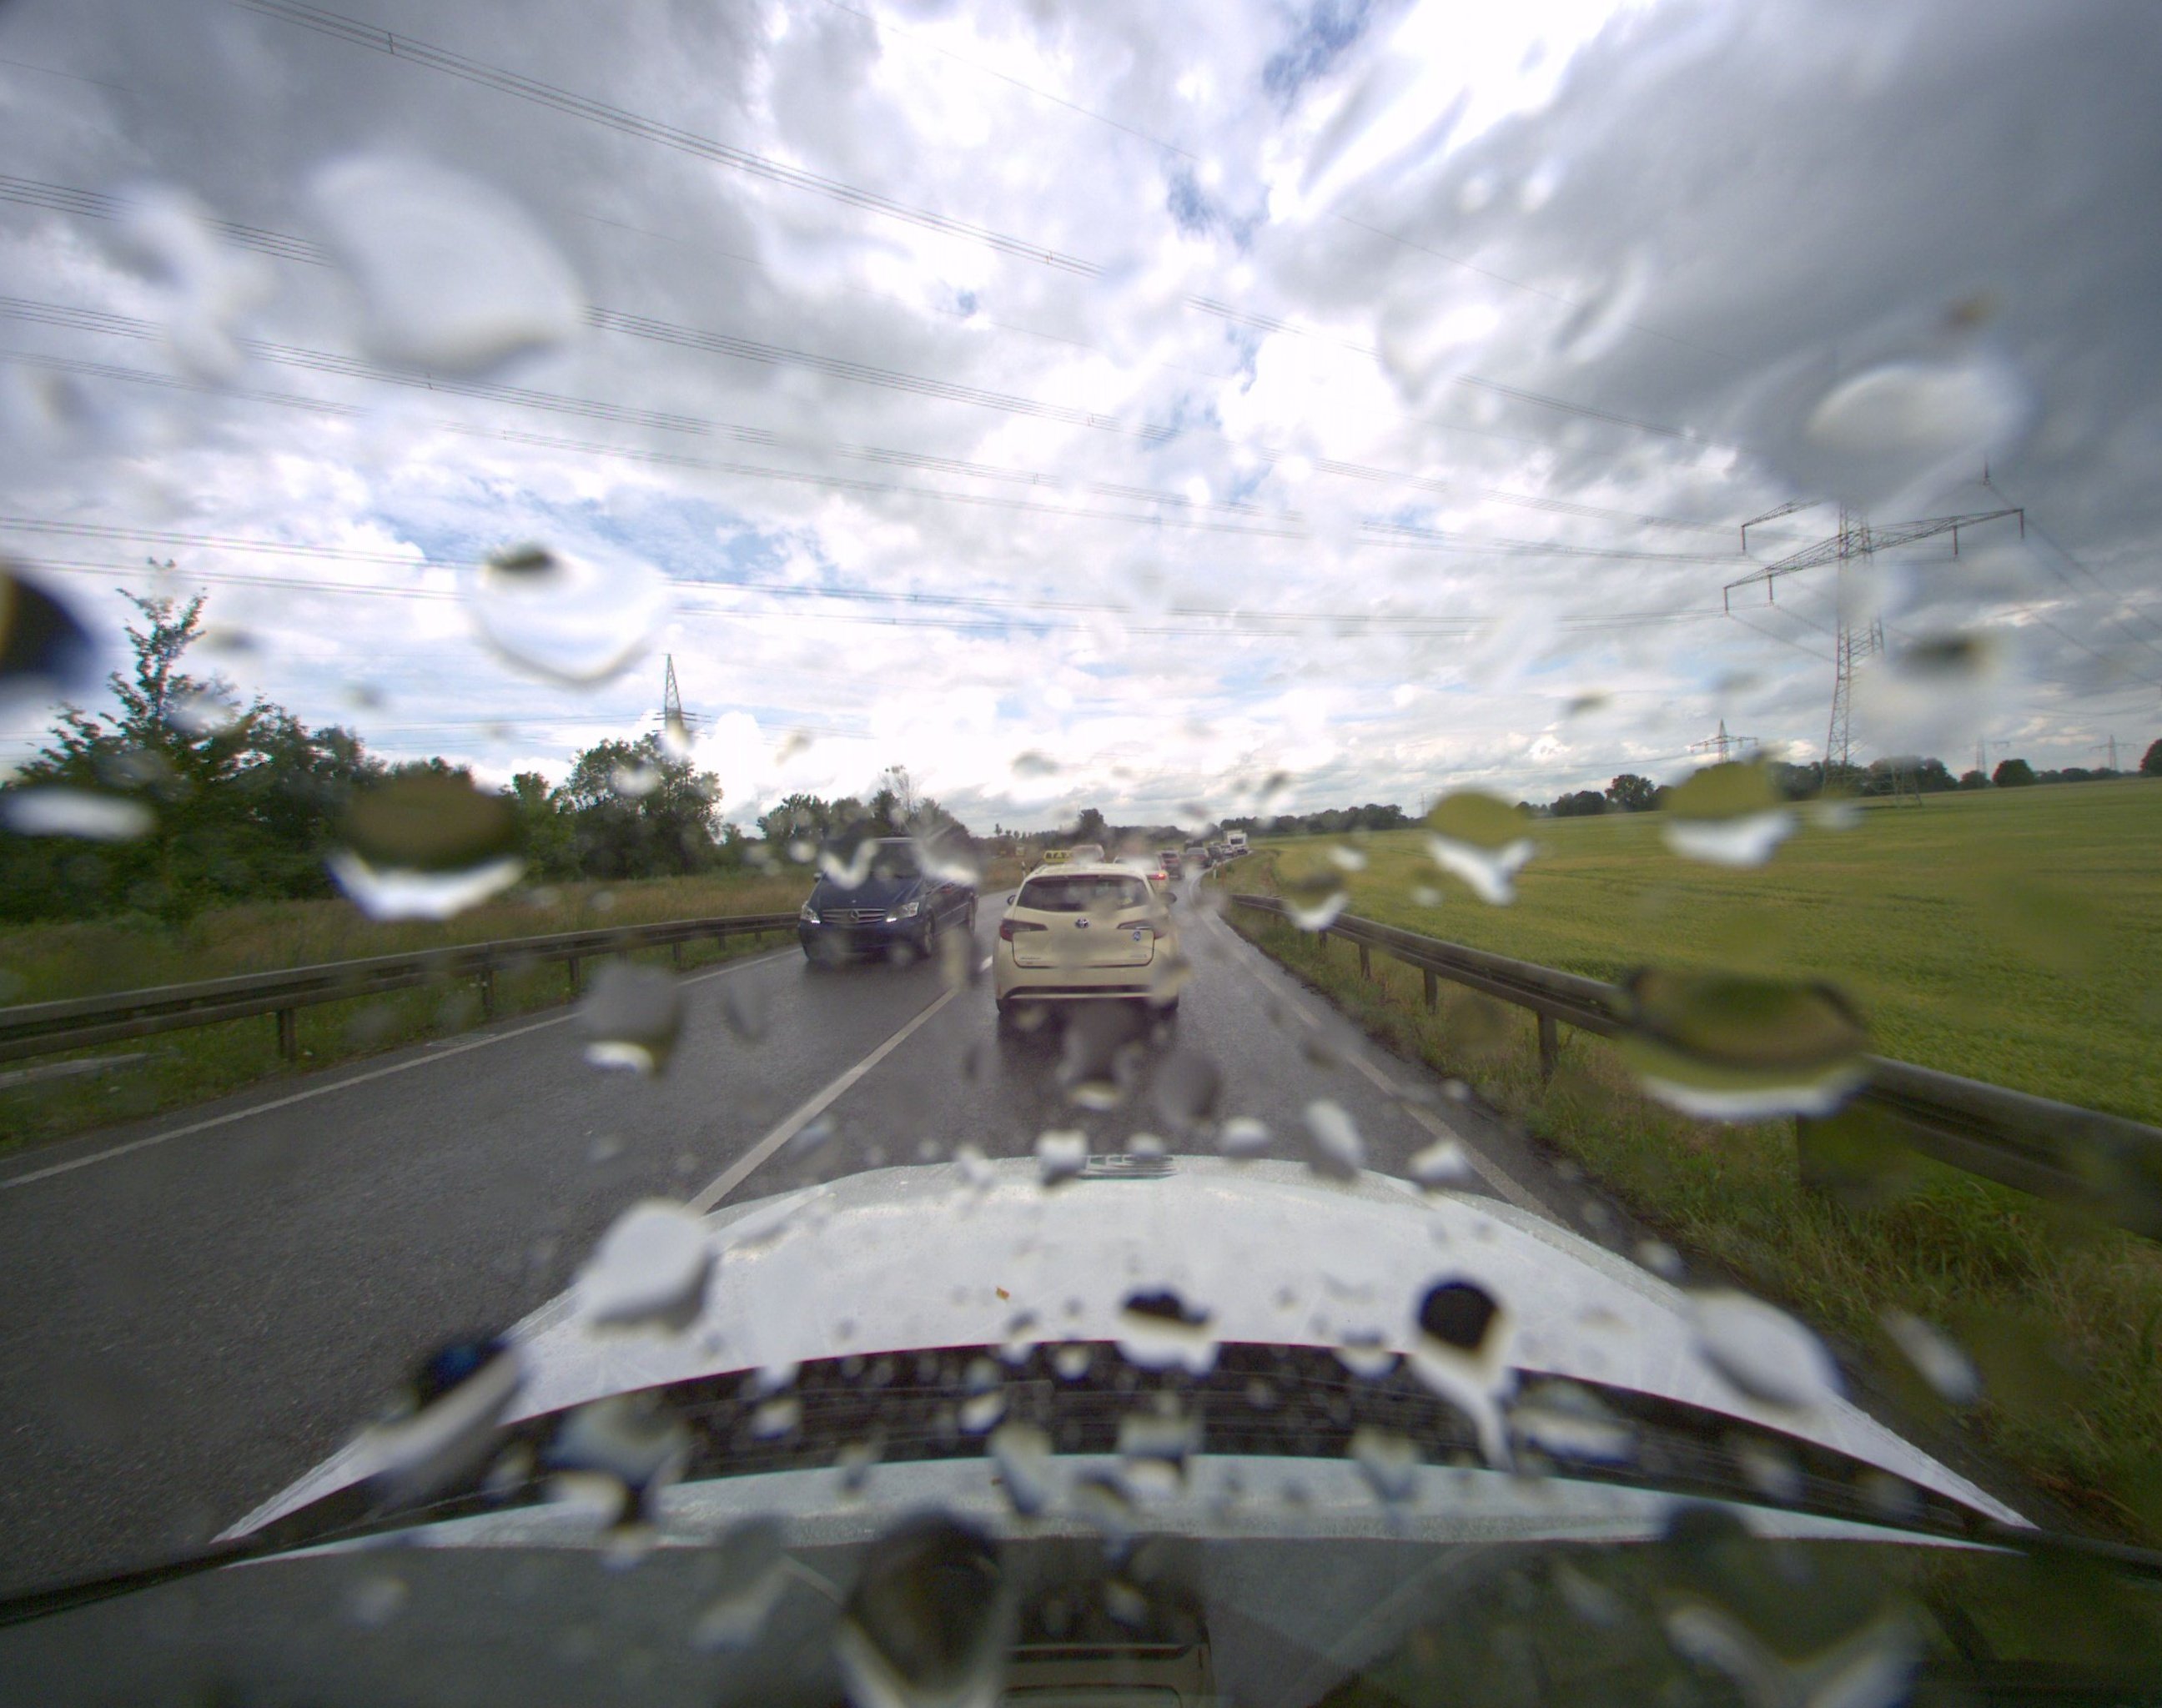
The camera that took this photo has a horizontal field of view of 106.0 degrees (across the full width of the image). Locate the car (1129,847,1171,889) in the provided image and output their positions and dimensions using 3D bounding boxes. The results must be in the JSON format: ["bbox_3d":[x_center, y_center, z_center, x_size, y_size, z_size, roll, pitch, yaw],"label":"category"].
[{"bbox_3d":[2.991,0.588,34.802,1.604,1.659,3.746,-1,-1,7],"label":"car"}]

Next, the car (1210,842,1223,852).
[{"bbox_3d":[25.122,-1.221,151.087,1.876,1.773,4.162,-1,-1,2],"label":"car"}]

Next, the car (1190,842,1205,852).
[{"bbox_3d":[23.698,-1.444,165.718,1.739,2.014,4.134,0,-1,-9],"label":"car"}]

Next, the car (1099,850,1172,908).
[{"bbox_3d":[1.717,0.664,24.138,1.831,1.492,4.618,-1,1,8],"label":"car"}]

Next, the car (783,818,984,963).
[{"bbox_3d":[-3.086,0.517,13.950,1.954,2.013,4.865,-1,0,4],"label":"car"}]

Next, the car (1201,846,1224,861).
[{"bbox_3d":[12.702,0.004,78.614,1.812,1.413,3.753,-1,-1,15],"label":"car"}]

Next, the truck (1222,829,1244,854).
[{"bbox_3d":[24.554,-1.930,131.796,3.109,3.852,7.403,-1,-1,8],"label":"truck"}]

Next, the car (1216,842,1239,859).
[{"bbox_3d":[16.008,-0.381,89.086,1.944,1.729,3.756,-1,-1,18],"label":"car"}]

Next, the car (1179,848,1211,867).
[{"bbox_3d":[8.731,0.262,62.067,1.946,1.413,4.408,-1,-1,14],"label":"car"}]

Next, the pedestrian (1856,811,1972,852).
[{"bbox_3d":[43.493,-1.137,42.643,1.987,2.014,4.000,-1,-1,0],"label":"pedestrian"}]

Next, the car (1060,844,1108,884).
[{"bbox_3d":[0.212,0.499,41.178,1.791,1.850,4.530,-2,-1,8],"label":"car"}]

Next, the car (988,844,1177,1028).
[{"bbox_3d":[0.071,0.724,8.851,1.607,1.562,3.739,-1,-1,2],"label":"car"}]

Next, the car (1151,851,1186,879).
[{"bbox_3d":[4.735,0.589,43.942,1.603,1.413,3.748,-1,-1,10],"label":"car"}]

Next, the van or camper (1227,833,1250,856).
[{"bbox_3d":[20.051,-1.215,103.665,2.518,2.896,6.768,-1,1,14],"label":"van or camper"}]
